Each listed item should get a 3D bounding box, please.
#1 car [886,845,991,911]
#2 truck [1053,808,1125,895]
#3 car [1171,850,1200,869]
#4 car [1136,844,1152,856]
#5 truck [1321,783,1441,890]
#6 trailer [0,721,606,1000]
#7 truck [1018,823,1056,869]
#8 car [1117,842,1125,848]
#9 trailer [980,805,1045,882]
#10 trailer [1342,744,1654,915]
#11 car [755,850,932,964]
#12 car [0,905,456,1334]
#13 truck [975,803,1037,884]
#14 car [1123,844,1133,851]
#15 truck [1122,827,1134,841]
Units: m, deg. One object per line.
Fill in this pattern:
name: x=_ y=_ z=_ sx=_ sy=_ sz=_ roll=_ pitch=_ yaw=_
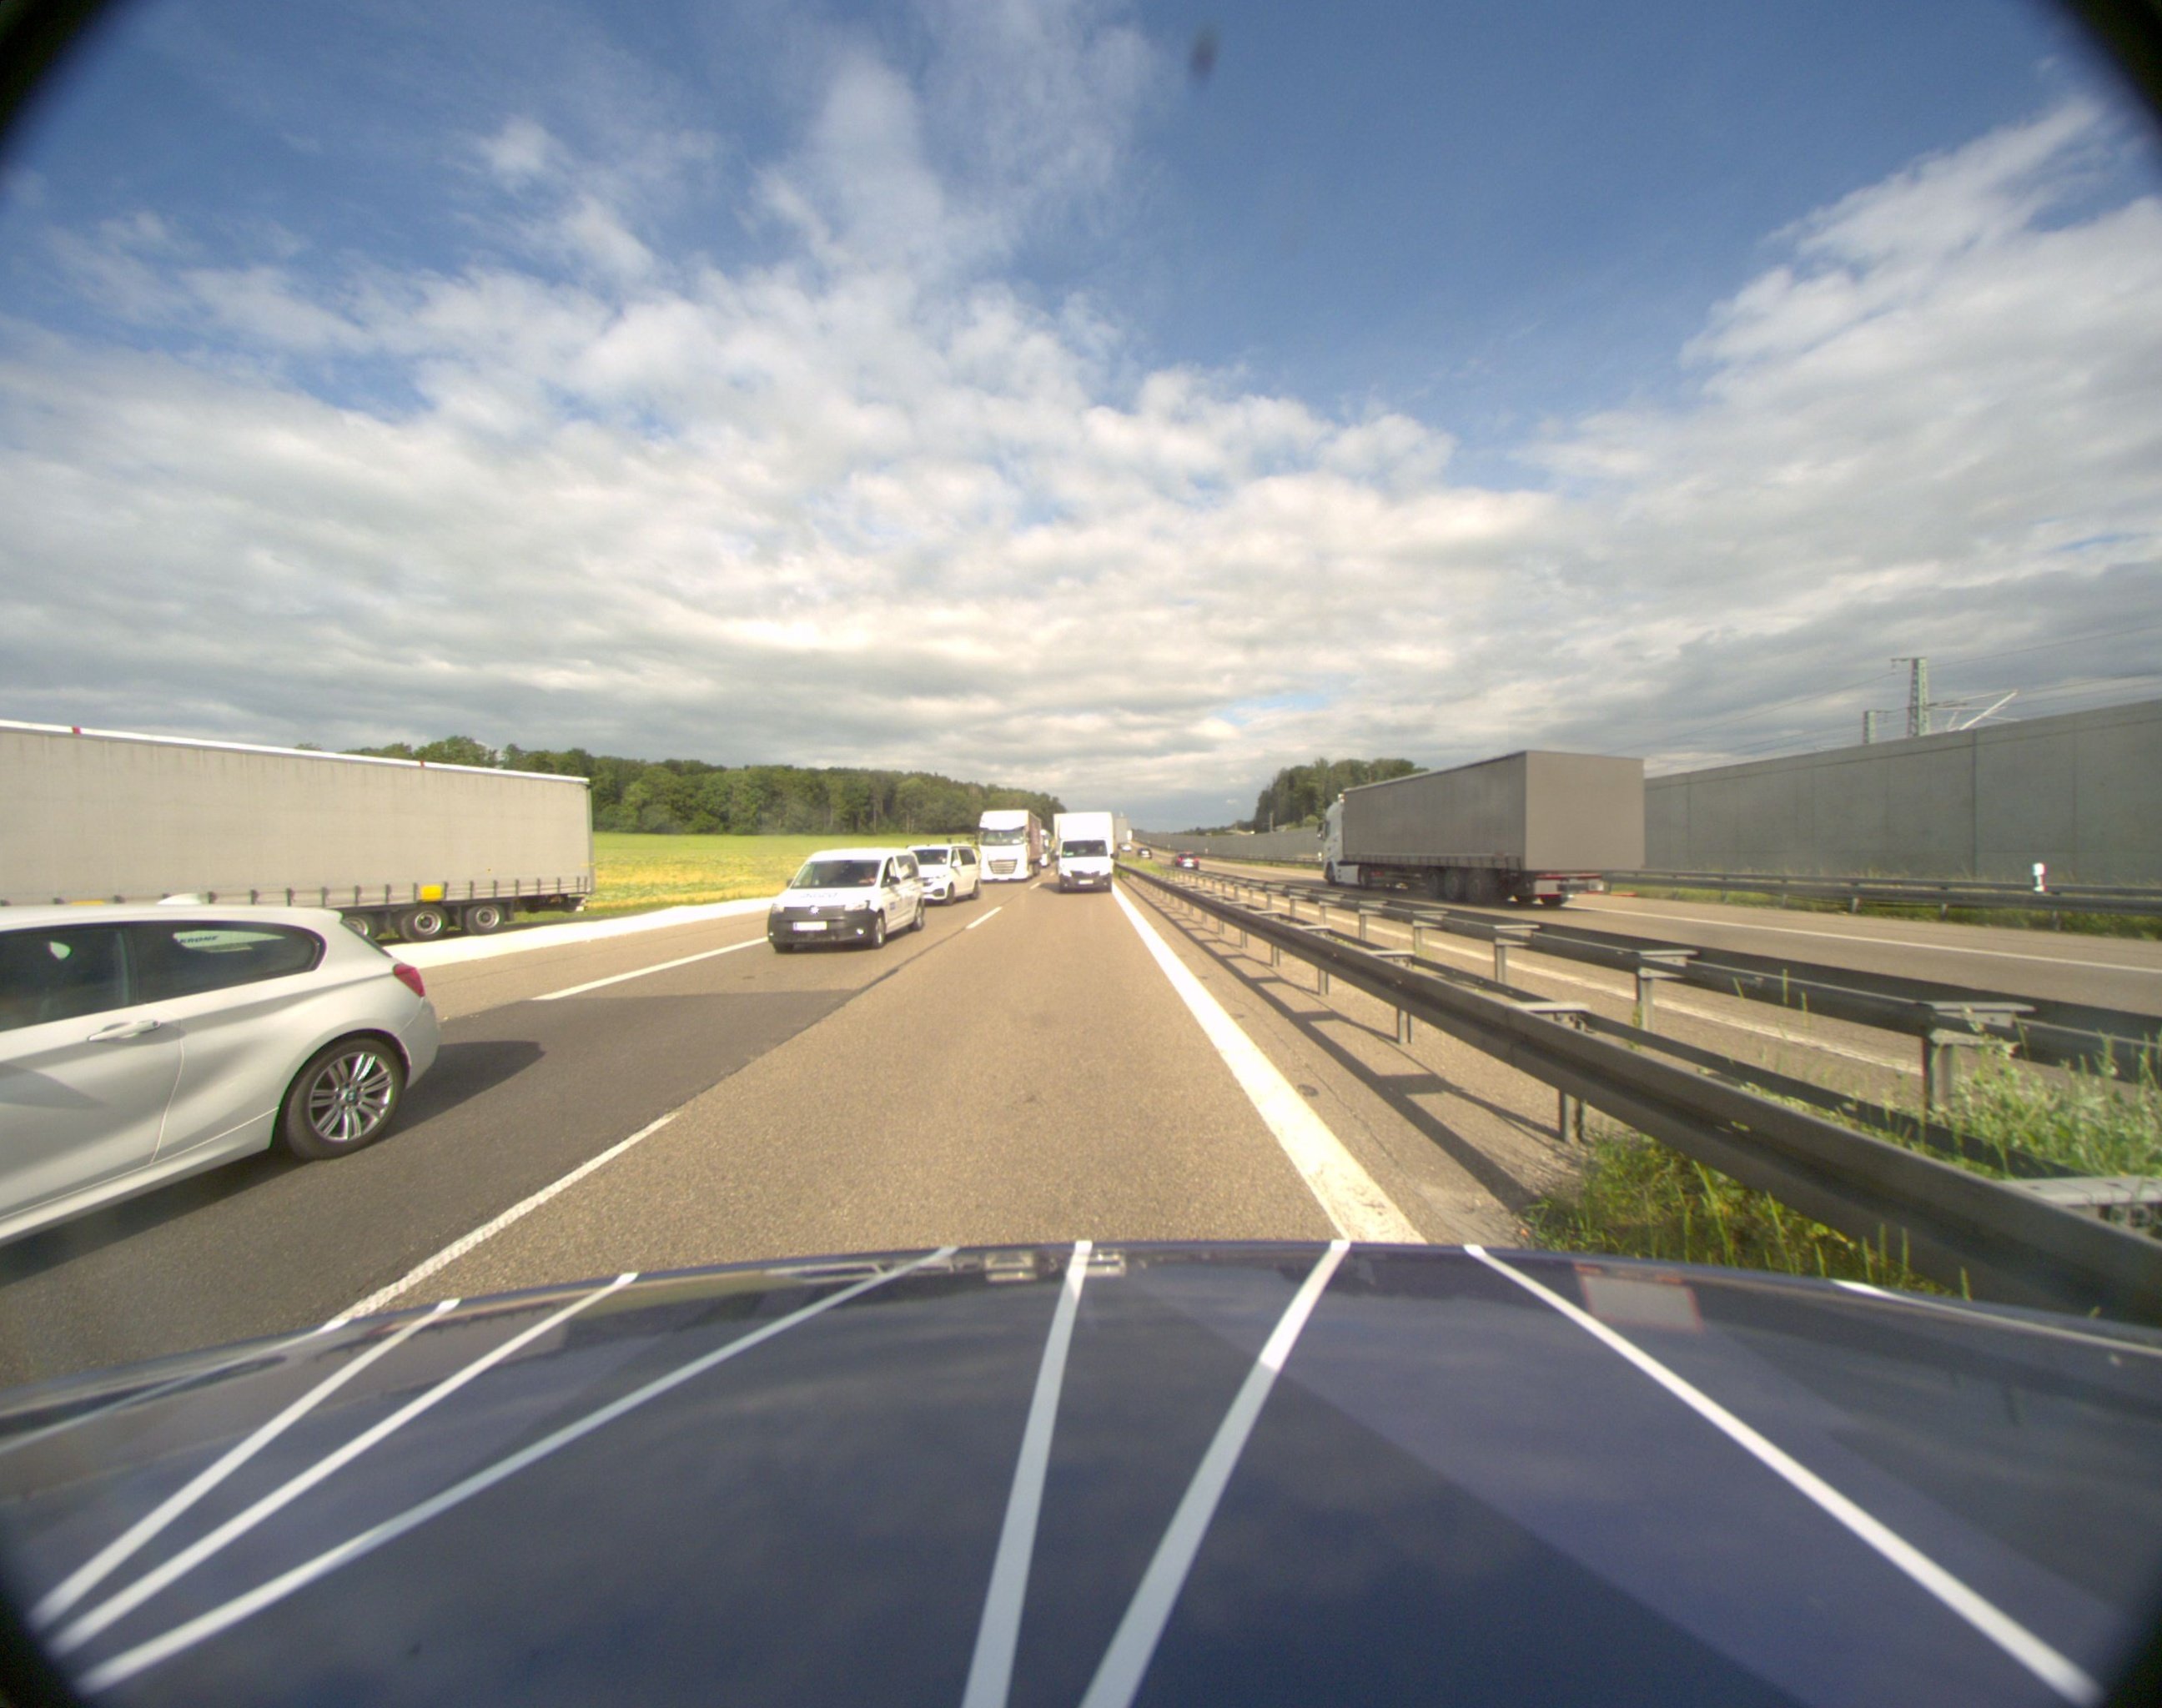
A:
car: x=-4.635 y=0.703 z=25.607 sx=1.798 sy=1.914 sz=5.270 roll=-2 pitch=0 yaw=8
truck: x=0.316 y=-0.123 z=33.674 sx=2.500 sy=3.082 sz=12.037 roll=-2 pitch=0 yaw=0
car: x=7.954 y=0.380 z=58.179 sx=1.637 sy=1.393 sz=3.896 roll=-1 pitch=0 yaw=0
car: x=8.570 y=-0.494 z=103.714 sx=1.720 sy=1.586 sz=4.449 roll=-1 pitch=0 yaw=1
truck: x=12.271 y=-0.675 z=31.680 sx=2.692 sy=4.045 sz=5.878 roll=-1 pitch=0 yaw=0
trailer: x=-16.457 y=0.100 z=14.840 sx=2.739 sy=4.136 sz=13.843 roll=-2 pitch=0 yaw=15
truck: x=-4.176 y=-0.735 z=75.376 sx=2.946 sy=4.094 sz=12.523 roll=-1 pitch=0 yaw=0
car: x=9.357 y=-2.116 z=177.985 sx=1.808 sy=1.454 sz=4.449 roll=-1 pitch=0 yaw=1
trailer: x=-4.095 y=-0.709 z=48.945 sx=2.742 sy=4.137 sz=14.016 roll=-2 pitch=1 yaw=0
trailer: x=12.225 y=-0.617 z=24.868 sx=2.690 sy=4.014 sz=13.790 roll=-1 pitch=0 yaw=0
car: x=-4.231 y=0.831 z=14.398 sx=1.729 sy=1.746 sz=4.702 roll=-3 pitch=0 yaw=1
car: x=-4.832 y=1.081 z=2.674 sx=1.708 sy=1.424 sz=4.231 roll=-3 pitch=0 yaw=0
truck: x=-4.122 y=-0.613 z=42.983 sx=2.736 sy=4.150 sz=5.766 roll=-2 pitch=1 yaw=0
car: x=9.458 y=-1.294 z=154.371 sx=1.721 sy=1.454 sz=4.449 roll=-1 pitch=0 yaw=0
truck: x=14.295 y=-5.964 z=232.047 sx=2.952 sy=4.037 sz=11.745 roll=-2 pitch=1 yaw=0
